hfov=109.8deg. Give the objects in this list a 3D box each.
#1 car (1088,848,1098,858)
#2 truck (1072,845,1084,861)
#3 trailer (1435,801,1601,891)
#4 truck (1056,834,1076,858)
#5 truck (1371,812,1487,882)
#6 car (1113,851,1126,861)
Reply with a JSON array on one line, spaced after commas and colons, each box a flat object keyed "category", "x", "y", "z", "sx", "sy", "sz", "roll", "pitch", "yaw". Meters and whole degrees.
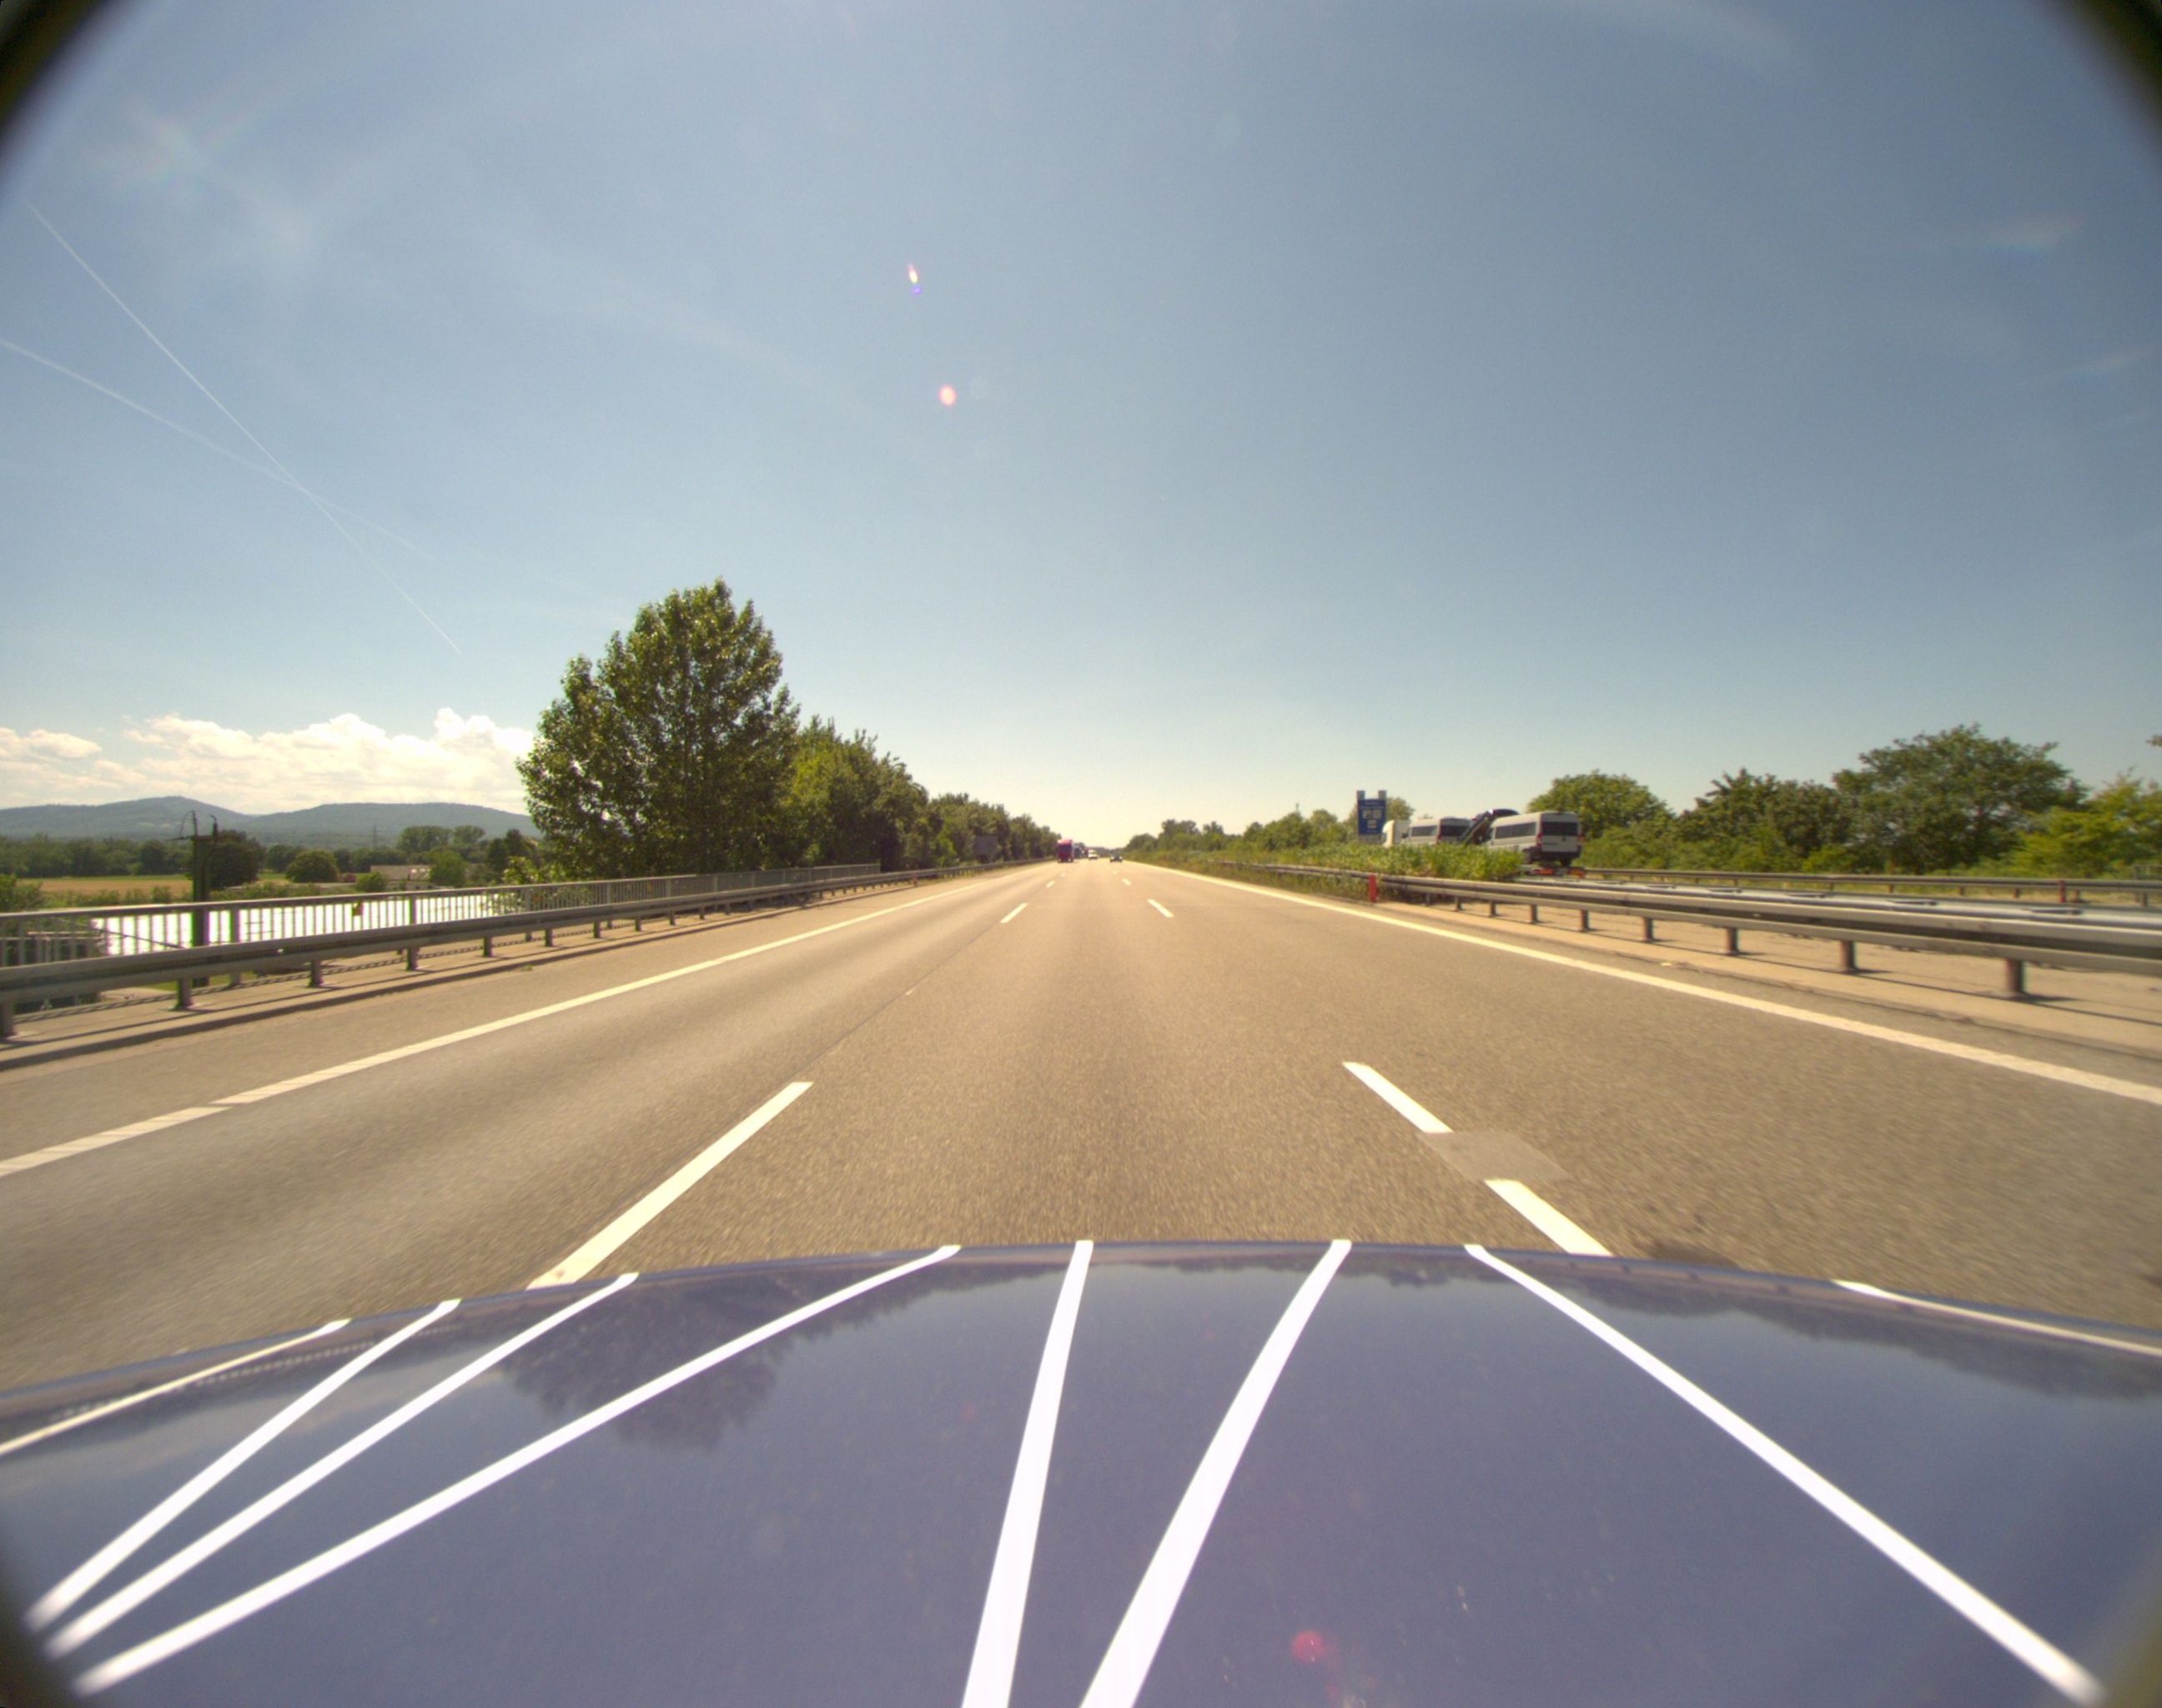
[{"category": "car", "x": 2.651, "y": -0.217, "z": 166.434, "sx": 1.998, "sy": 2.002, "sz": 4.756, "roll": -2, "pitch": 0, "yaw": 1}, {"category": "truck", "x": -0.833, "y": -0.329, "z": 226.181, "sx": 2.938, "sy": 4.429, "sz": 10.260, "roll": -2, "pitch": 0, "yaw": 1}, {"category": "trailer", "x": 21.971, "y": -0.378, "z": 39.081, "sx": 2.933, "sy": 3.967, "sz": 9.658, "roll": -2, "pitch": 0, "yaw": 0}, {"category": "truck", "x": -2.525, "y": -1.321, "z": 132.544, "sx": 2.938, "sy": 3.934, "sz": 10.260, "roll": -2, "pitch": 0, "yaw": 1}, {"category": "truck", "x": 22.021, "y": -0.434, "z": 48.854, "sx": 2.925, "sy": 3.967, "sz": 9.622, "roll": -2, "pitch": 0, "yaw": 0}, {"category": "car", "x": 5.784, "y": 0.331, "z": 115.001, "sx": 1.736, "sy": 1.433, "sz": 4.000, "roll": -2, "pitch": 0, "yaw": 1}]
